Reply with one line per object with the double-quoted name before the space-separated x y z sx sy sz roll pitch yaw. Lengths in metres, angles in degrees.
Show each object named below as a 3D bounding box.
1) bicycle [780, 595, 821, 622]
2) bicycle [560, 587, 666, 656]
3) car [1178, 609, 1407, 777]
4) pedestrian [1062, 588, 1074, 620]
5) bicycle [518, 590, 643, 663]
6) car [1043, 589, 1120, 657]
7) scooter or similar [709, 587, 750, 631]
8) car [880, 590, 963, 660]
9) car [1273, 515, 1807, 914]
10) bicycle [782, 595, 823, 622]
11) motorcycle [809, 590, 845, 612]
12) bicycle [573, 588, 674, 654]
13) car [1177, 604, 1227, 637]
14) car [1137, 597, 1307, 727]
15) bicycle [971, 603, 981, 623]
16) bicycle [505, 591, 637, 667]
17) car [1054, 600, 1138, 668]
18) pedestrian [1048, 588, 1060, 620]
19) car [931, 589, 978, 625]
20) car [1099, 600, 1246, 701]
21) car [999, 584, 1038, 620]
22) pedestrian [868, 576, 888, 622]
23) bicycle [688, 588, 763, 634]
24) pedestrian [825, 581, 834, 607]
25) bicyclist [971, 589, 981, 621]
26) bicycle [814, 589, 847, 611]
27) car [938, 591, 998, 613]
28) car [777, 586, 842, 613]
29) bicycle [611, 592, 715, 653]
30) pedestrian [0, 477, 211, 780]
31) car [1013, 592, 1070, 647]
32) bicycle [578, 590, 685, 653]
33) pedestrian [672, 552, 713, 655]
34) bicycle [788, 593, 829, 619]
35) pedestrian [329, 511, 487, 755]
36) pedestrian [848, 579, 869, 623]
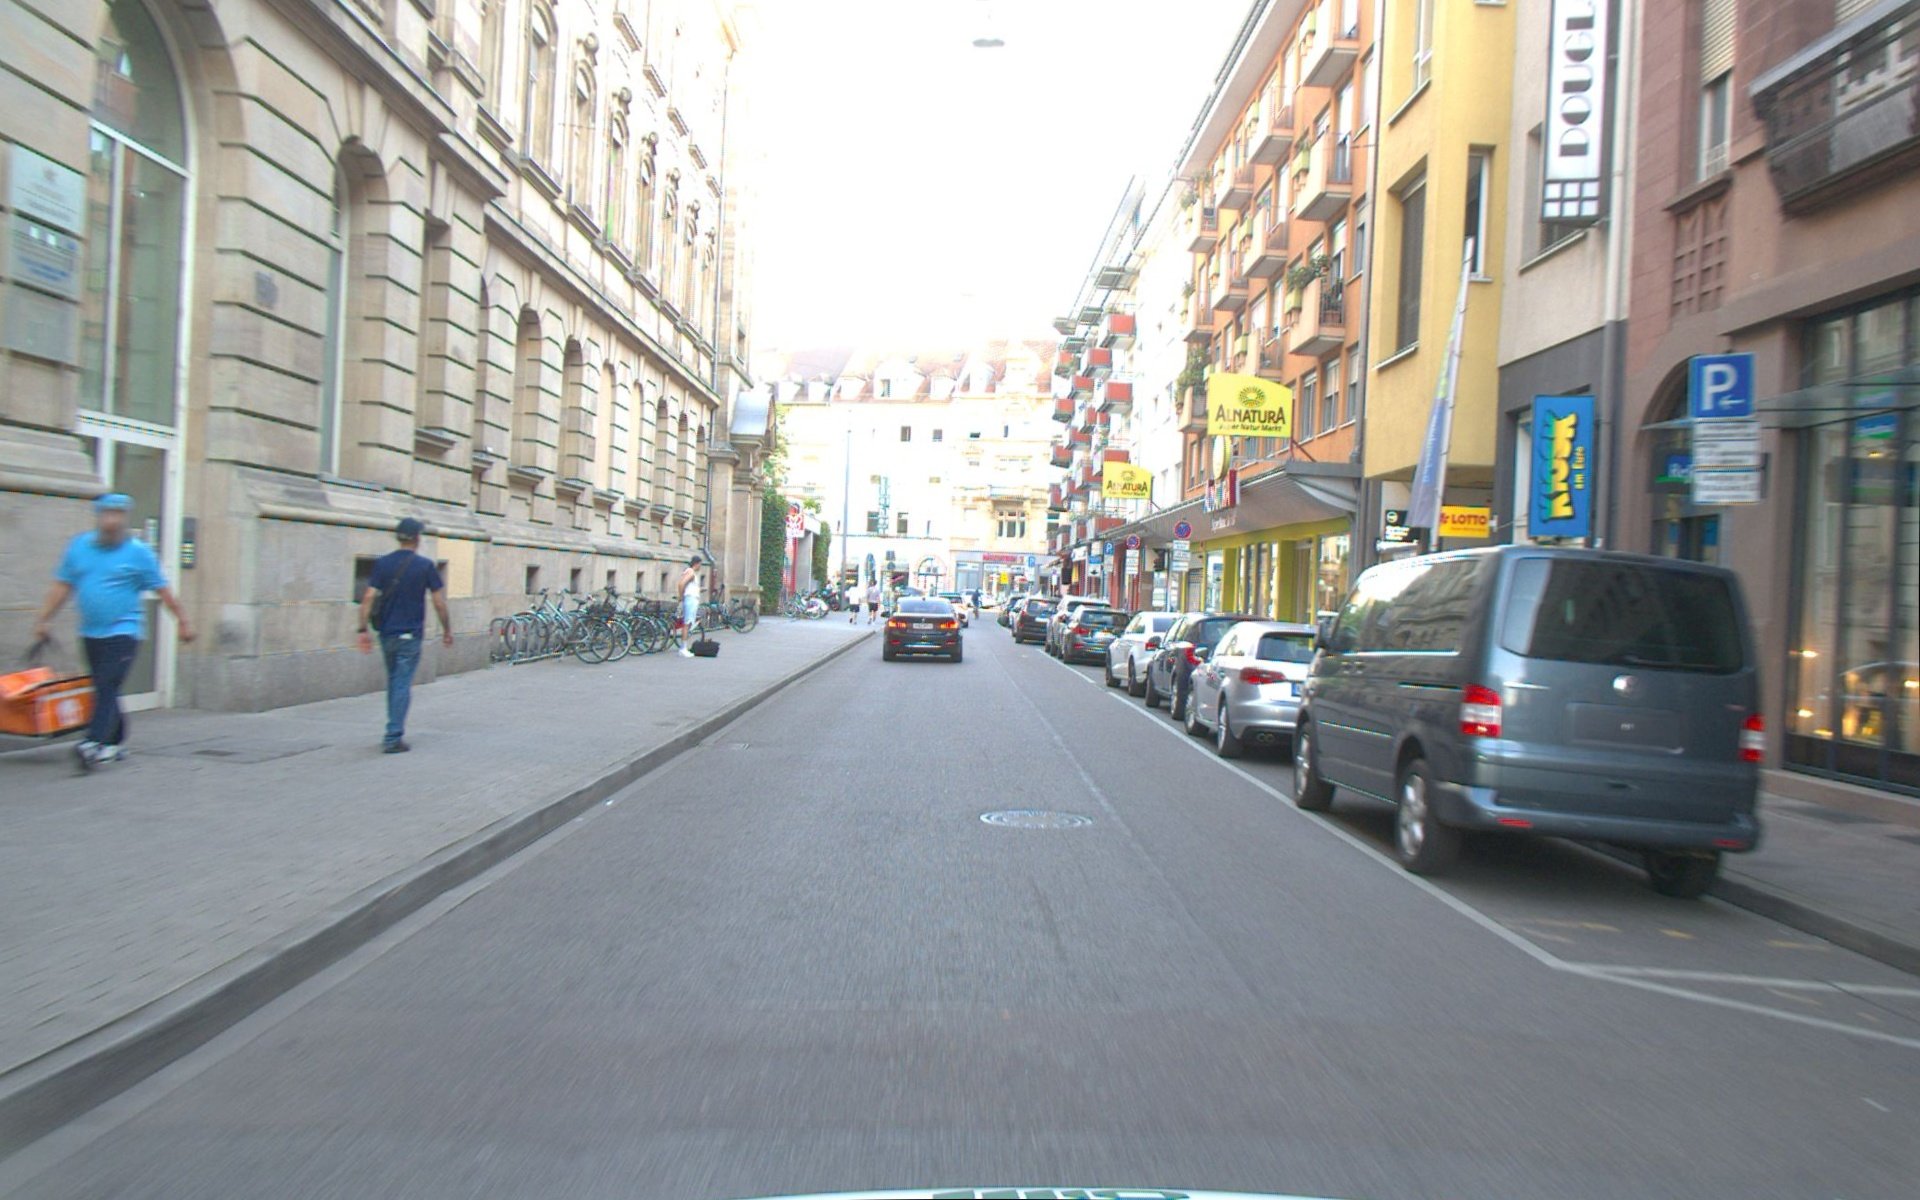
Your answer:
"bicycle" -7.176 0.372 74.410 1.758 1.127 0.500 3 0 -2
"bicycle" -6.220 0.385 29.734 1.760 1.127 0.499 4 -1 -7
"car" 3.608 0.940 18.728 1.652 1.478 4.498 4 1 1
"pedestrian" 5.753 0.228 88.103 0.634 1.690 0.794 -1 0 1
"bicycle" -6.291 0.442 27.514 1.900 1.080 0.619 4 -1 -7
"car" 3.379 0.601 46.831 1.716 1.697 4.756 4 1 0
"scooter or similar" -6.893 0.272 49.435 1.113 1.254 0.495 3 0 -13
"car" -0.822 0.531 38.014 1.729 1.398 4.790 3 1 0
"car" 3.677 0.638 11.639 1.809 2.094 5.053 3 0 -1
"bicycle" -7.047 0.373 74.066 1.758 1.127 0.500 3 0 -1
"motorcycle" -7.351 0.057 91.366 1.765 1.082 0.764 4 0 25
"bicycle" -6.283 0.393 30.933 1.760 1.127 0.499 4 -1 -7
"car" 10.825 0.907 74.146 1.703 1.360 4.001 2 1 2
"car" 3.673 0.815 23.843 1.586 1.542 4.172 4 1 -2
"bicycle" 0.913 0.733 96.648 0.525 1.127 1.800 3 0 0
"bicycle" -6.164 0.460 26.267 1.898 1.080 0.619 4 -1 -2
"car" 3.376 0.811 41.863 1.657 1.439 4.756 4 1 0
"pedestrian" 4.996 0.205 88.068 0.634 1.690 0.655 -1 0 1
"car" -0.228 0.296 74.353 1.838 1.498 4.002 2 1 3
"car" 3.624 0.813 29.014 1.658 1.435 4.636 4 1 -3
"car" 2.985 0.072 85.560 1.729 1.670 4.790 4 1 0
"pedestrian" -3.555 -0.049 71.652 0.729 1.926 1.050 3 0 0
"bicycle" -6.472 0.300 45.652 1.906 1.080 0.617 6 -1 -16
"pedestrian" -8.483 -0.370 107.169 0.490 1.671 0.521 2 0 1
"bicyclist" 0.933 0.291 96.626 0.513 1.787 0.620 3 0 0
"bicycle" -7.244 0.019 92.801 1.758 1.127 0.500 4 0 -2
"car" 0.652 0.159 129.594 4.263 1.589 1.868 2 -1 22
"car" -9.427 -0.049 103.579 3.913 1.527 1.888 2 0 -9
"bicycle" -5.872 0.451 32.795 1.899 1.080 0.619 4 -1 -3
"pedestrian" -5.359 0.171 10.410 0.812 1.776 0.769 4 0 0
"car" 2.800 0.626 56.072 1.757 1.637 4.488 5 1 4
"bicycle" -6.284 0.410 31.748 1.900 1.080 0.619 4 -1 -7
"pedestrian" -5.011 0.063 31.012 0.576 1.883 0.753 4 0 -6
"bicycle" -7.011 0.266 76.588 1.757 1.127 0.500 3 0 2
"pedestrian" -4.277 0.251 12.884 0.793 1.781 0.969 3 -1 -1
"pedestrian" -4.360 0.030 71.237 0.726 1.844 1.008 4 0 -1
